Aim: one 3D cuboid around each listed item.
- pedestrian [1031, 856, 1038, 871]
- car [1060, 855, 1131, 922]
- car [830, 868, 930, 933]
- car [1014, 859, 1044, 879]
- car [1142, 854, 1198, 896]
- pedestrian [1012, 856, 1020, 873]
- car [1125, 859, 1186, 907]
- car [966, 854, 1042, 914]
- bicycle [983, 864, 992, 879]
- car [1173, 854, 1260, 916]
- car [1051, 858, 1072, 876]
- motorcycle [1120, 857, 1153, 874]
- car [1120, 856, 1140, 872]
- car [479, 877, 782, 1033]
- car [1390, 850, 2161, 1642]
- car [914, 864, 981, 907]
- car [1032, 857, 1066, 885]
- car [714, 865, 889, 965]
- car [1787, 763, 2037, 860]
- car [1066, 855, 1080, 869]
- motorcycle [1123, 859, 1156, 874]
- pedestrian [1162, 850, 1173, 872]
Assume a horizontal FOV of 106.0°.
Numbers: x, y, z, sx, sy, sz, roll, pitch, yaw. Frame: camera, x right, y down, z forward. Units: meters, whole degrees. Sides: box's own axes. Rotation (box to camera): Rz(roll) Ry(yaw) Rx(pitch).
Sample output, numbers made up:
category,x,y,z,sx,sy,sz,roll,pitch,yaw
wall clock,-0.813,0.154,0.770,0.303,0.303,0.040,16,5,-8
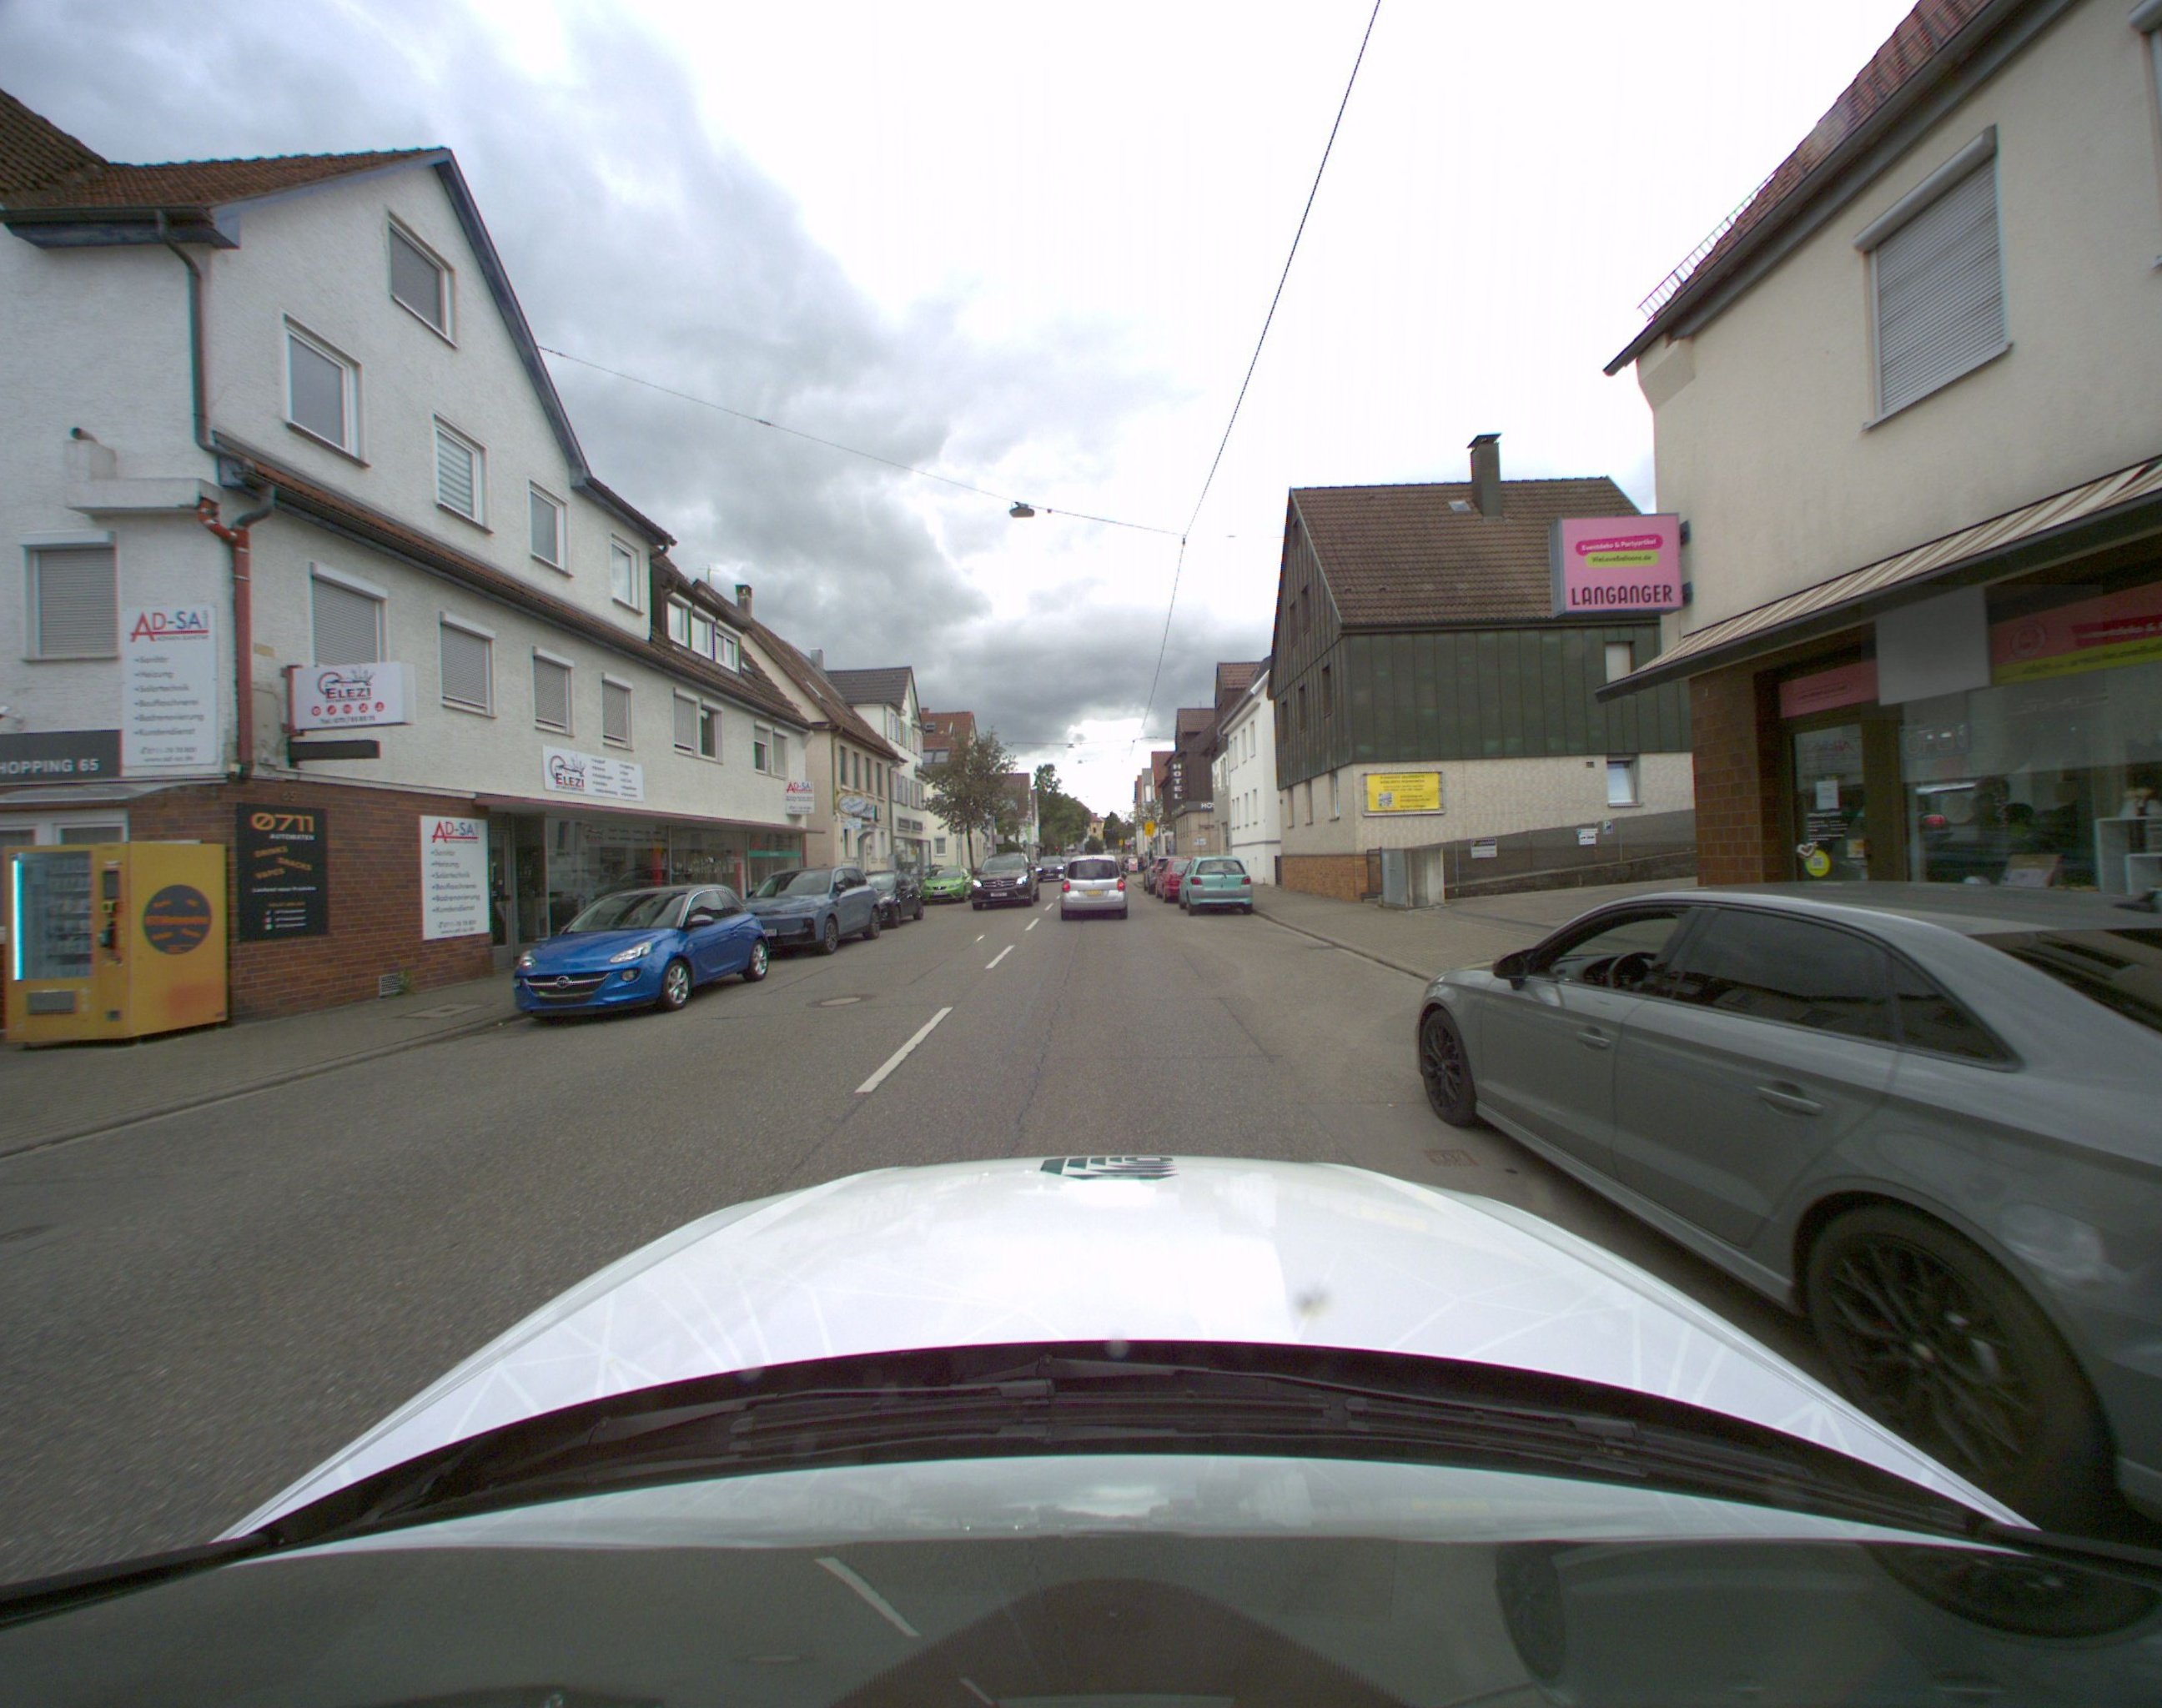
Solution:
category,x,y,z,sx,sy,sz,roll,pitch,yaw
pedestrian,-5.580,1.127,97.082,0.759,1.876,0.696,-1,-1,1
car,0.414,0.836,21.398,1.676,1.566,3.995,-1,0,2
car,-5.230,1.153,21.658,1.576,1.508,3.814,-1,0,2
car,-4.264,1.238,67.611,1.941,1.467,4.517,-4,-1,2
car,3.492,0.809,32.749,1.869,1.539,4.514,-1,0,2
pedestrian,-6.777,1.119,85.137,0.760,1.791,0.890,-1,-1,1
car,2.395,0.896,27.051,1.748,1.446,4.456,-1,0,2
car,-2.479,0.935,27.368,1.893,1.737,4.368,-3,0,2
bicycle,-7.342,1.374,63.861,0.513,1.153,1.665,-1,-1,-1
car,3.574,0.779,22.107,1.824,1.497,3.995,-1,0,2
car,-1.671,1.117,71.371,1.678,1.447,4.018,-3,0,-1
motorcycle,4.562,0.965,66.968,2.724,1.336,0.693,-1,-1,-29
car,4.484,0.919,74.932,1.695,1.467,4.239,-1,0,1
car,-5.532,1.137,10.633,1.676,1.499,3.776,-3,0,2
car,2.886,0.719,3.148,1.825,1.446,4.109,-1,0,0
car,-5.132,1.172,31.886,1.675,1.447,4.023,-3,0,3
car,-2.005,1.050,52.413,1.788,1.578,4.193,-4,0,1
car,-5.370,1.097,16.288,1.796,1.599,4.306,-3,0,2
car,17.195,-0.785,17.179,1.906,1.654,4.018,-5,-1,17
car,-1.156,1.132,118.633,1.945,2.014,4.001,-1,0,1
motorcycle,4.714,1.031,65.920,2.745,1.183,0.693,-1,-1,-29
pedestrian,7.731,0.613,73.029,0.854,1.928,0.900,-1,-1,1
